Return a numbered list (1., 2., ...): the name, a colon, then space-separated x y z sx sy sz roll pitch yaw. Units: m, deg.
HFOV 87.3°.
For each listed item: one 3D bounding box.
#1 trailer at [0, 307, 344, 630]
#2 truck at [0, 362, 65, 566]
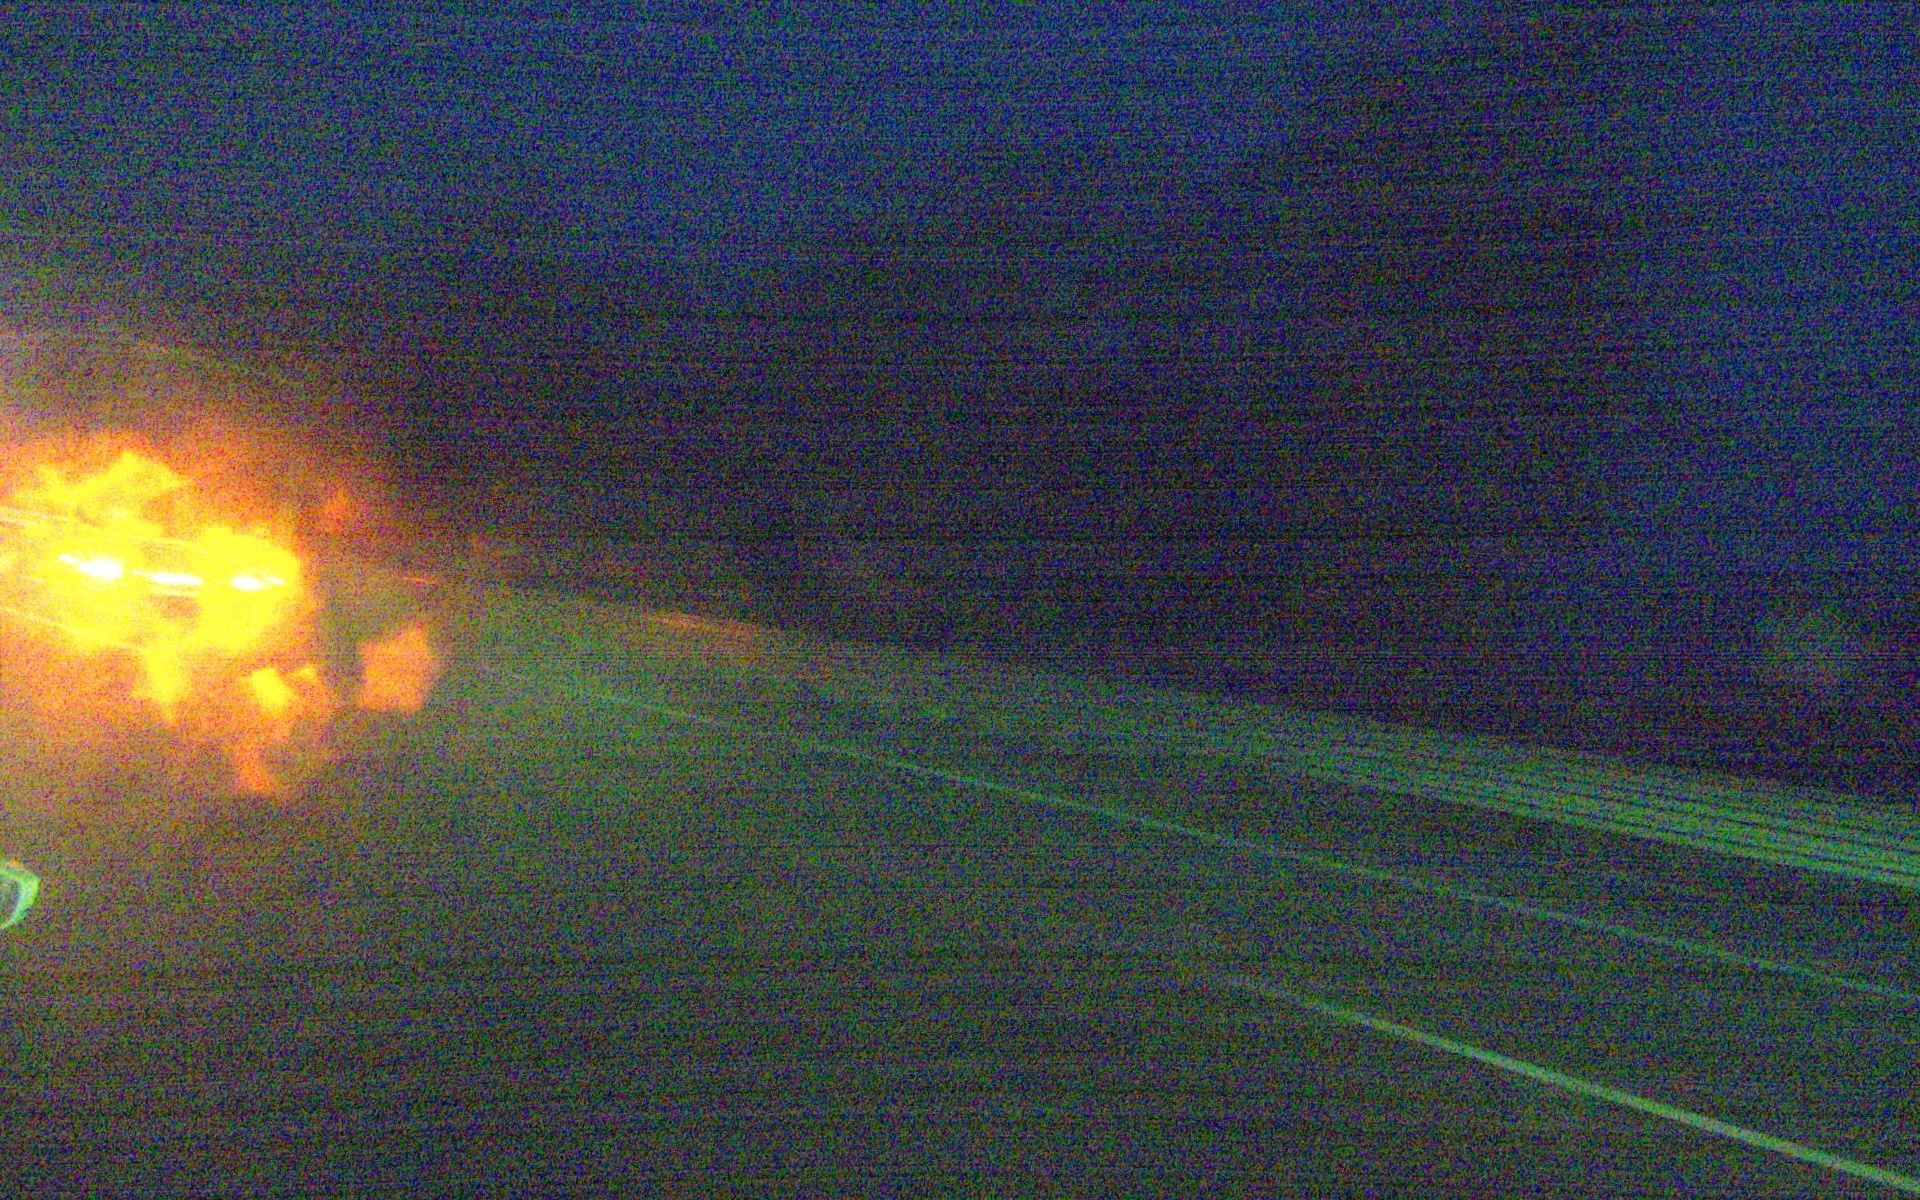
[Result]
1. trailer: -16.391 -2.386 18.053 13.598 4.161 3.043 7 1 32
2. truck: -22.741 -3.179 21.965 5.701 4.161 3.043 7 1 31
